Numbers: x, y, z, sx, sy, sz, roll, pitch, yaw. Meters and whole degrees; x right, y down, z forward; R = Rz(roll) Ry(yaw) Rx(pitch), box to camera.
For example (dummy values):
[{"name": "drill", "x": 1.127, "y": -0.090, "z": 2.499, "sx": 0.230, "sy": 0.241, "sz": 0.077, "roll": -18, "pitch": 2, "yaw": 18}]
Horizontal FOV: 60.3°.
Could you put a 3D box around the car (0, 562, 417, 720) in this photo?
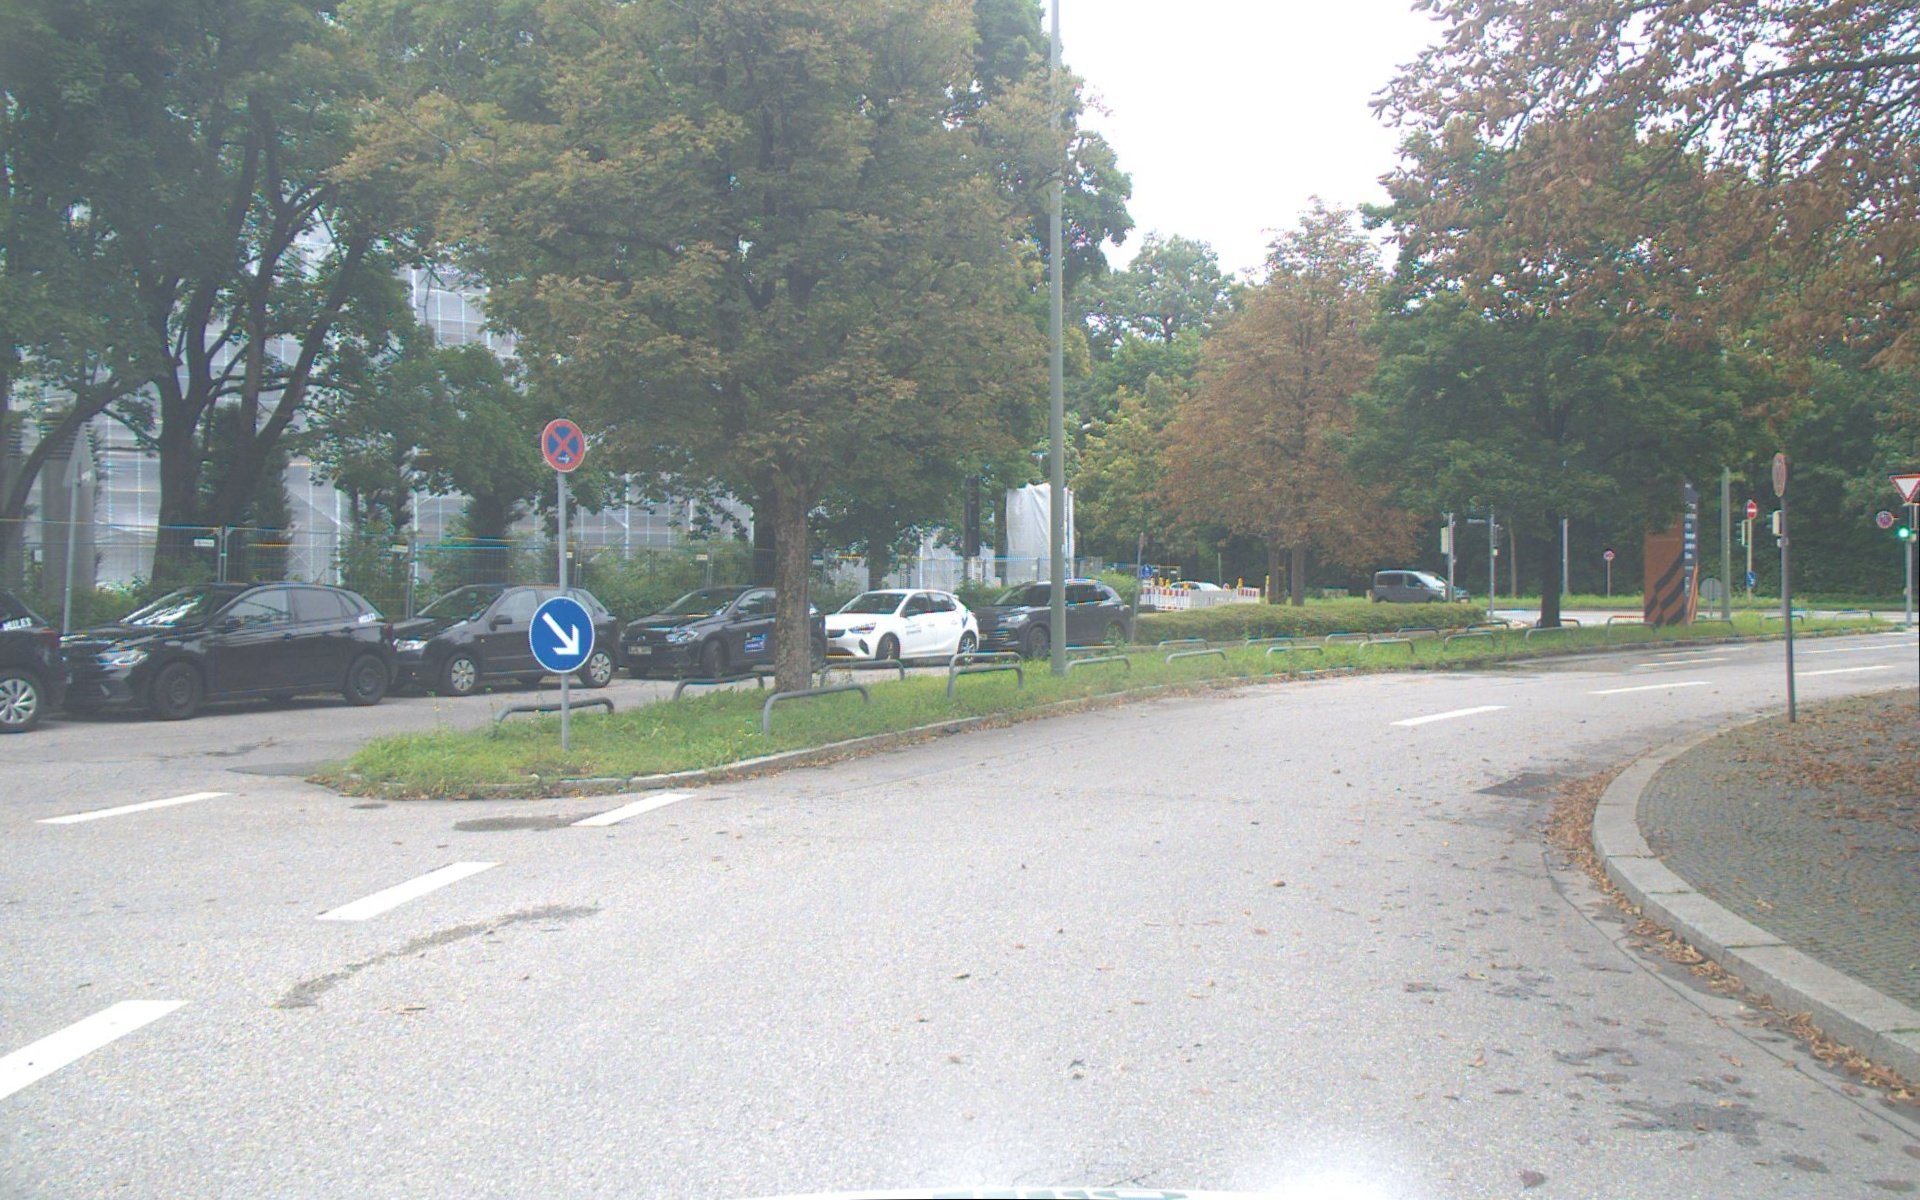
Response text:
[{"name": "car", "x": -8.381, "y": 0.396, "z": 18.690, "sx": 1.957, "sy": 1.568, "sz": 3.991, "roll": 0, "pitch": 0, "yaw": 31}]

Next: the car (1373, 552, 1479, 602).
[{"name": "car", "x": 19.762, "y": -0.961, "z": 70.262, "sx": 1.981, "sy": 2.049, "sz": 3.943, "roll": -1, "pitch": 1, "yaw": -39}]

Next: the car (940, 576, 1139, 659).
[{"name": "car", "x": 1.728, "y": 0.392, "z": 34.609, "sx": 1.858, "sy": 1.634, "sz": 4.370, "roll": -1, "pitch": -2, "yaw": 42}]

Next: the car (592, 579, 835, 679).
[{"name": "car", "x": -3.921, "y": 0.433, "z": 26.922, "sx": 1.800, "sy": 1.486, "sz": 3.997, "roll": -1, "pitch": 0, "yaw": 31}]

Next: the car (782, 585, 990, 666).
[{"name": "car", "x": -1.307, "y": 0.435, "z": 30.913, "sx": 1.764, "sy": 1.408, "sz": 4.206, "roll": -1, "pitch": 0, "yaw": 33}]

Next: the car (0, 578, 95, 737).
[{"name": "car", "x": -10.393, "y": 0.540, "z": 15.078, "sx": 1.957, "sy": 1.457, "sz": 4.033, "roll": 2, "pitch": 1, "yaw": 31}]

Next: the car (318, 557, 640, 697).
[{"name": "car", "x": -6.479, "y": 0.334, "z": 22.680, "sx": 1.957, "sy": 1.736, "sz": 3.991, "roll": -1, "pitch": 0, "yaw": 31}]
